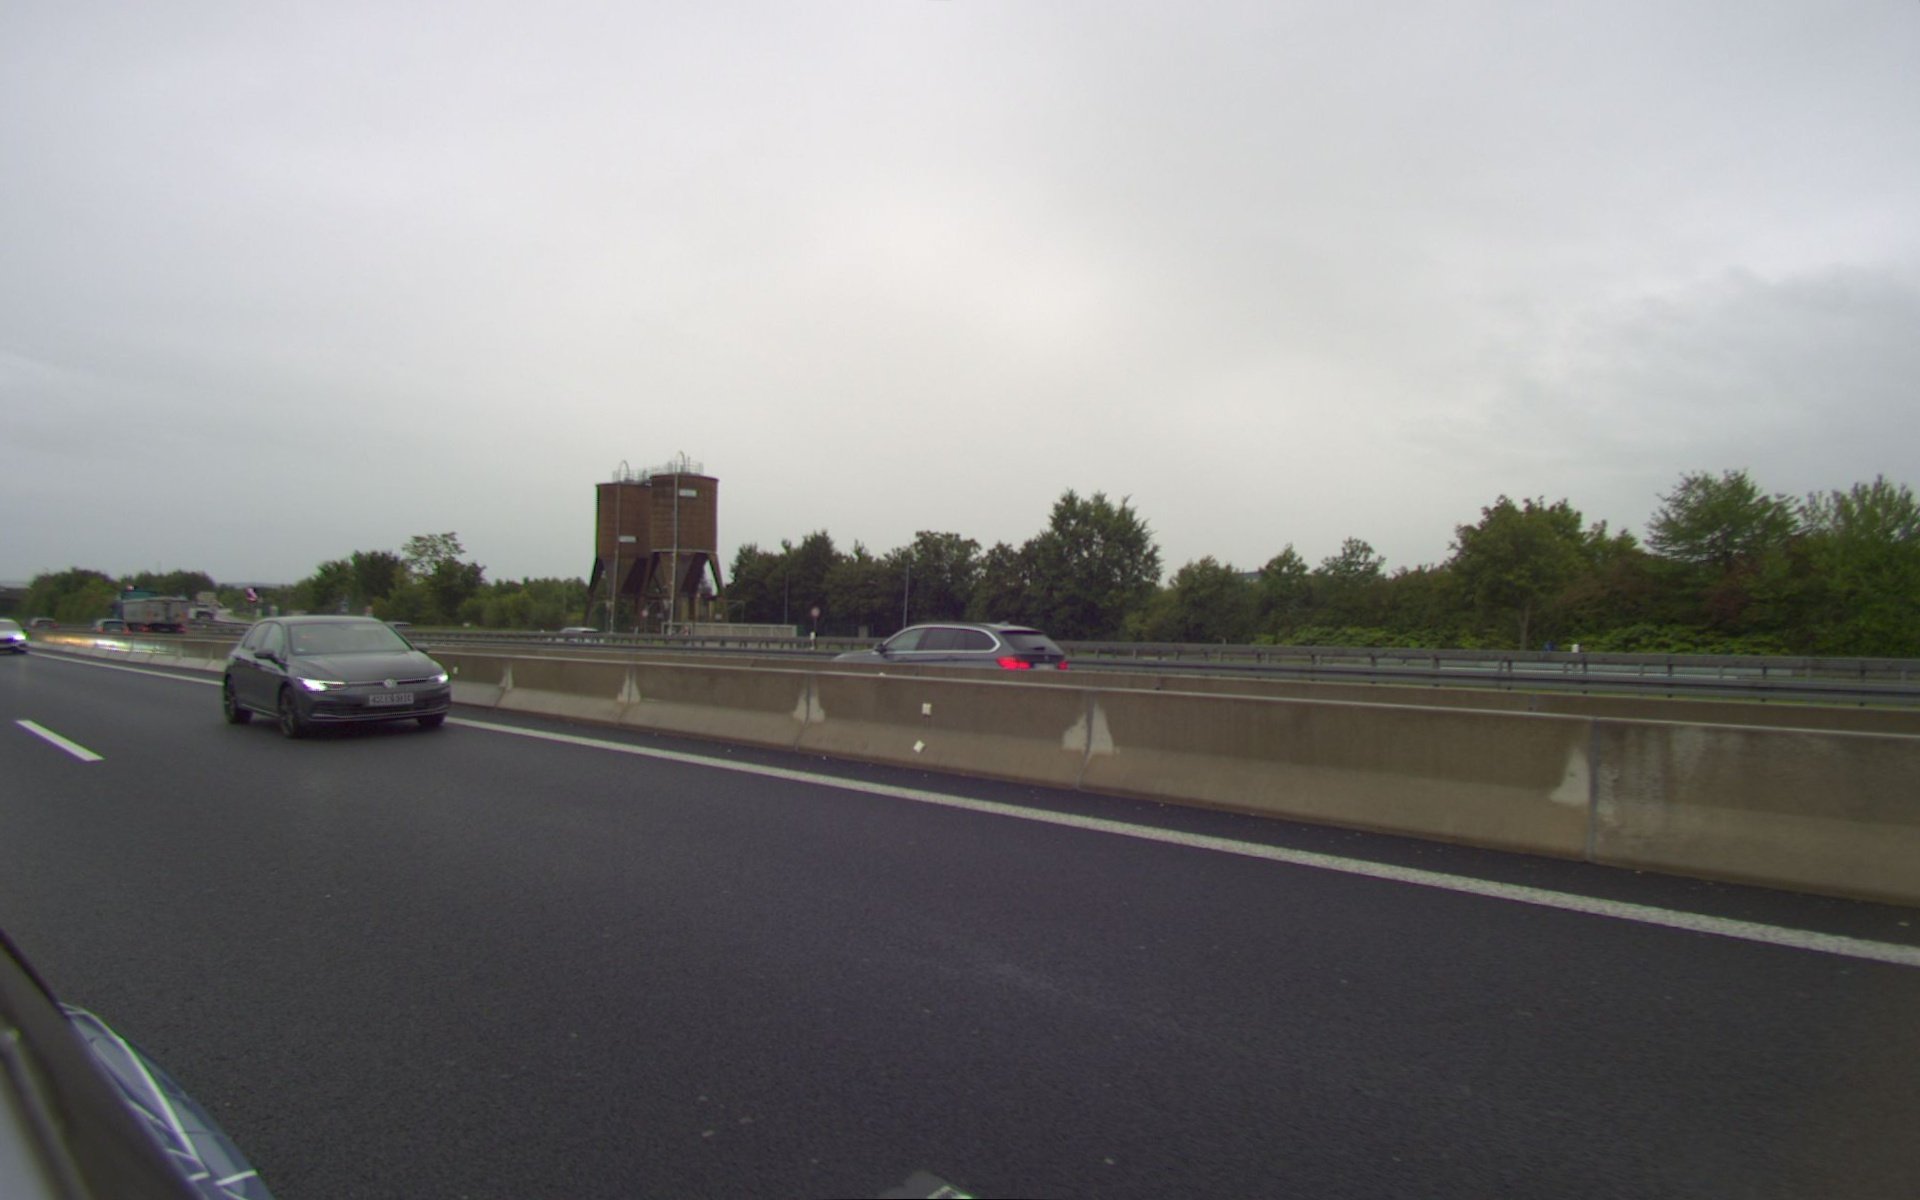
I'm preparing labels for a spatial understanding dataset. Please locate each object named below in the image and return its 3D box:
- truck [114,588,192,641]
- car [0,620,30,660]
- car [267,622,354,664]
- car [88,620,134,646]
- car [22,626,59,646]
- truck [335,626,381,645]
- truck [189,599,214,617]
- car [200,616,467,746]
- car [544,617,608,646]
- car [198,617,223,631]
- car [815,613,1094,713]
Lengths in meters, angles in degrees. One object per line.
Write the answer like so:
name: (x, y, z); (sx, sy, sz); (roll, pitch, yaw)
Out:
truck: (-61.792, 1.090, 77.342); (11.909, 3.738, 2.936); (-1, 0, 43)
car: (-40.247, 1.650, 42.053); (4.816, 1.603, 1.972); (-1, -1, 43)
car: (-24.971, 1.614, 38.865); (3.998, 1.519, 1.779); (-1, -2, 41)
car: (-54.795, 2.115, 65.309); (3.998, 1.608, 1.695); (-1, -1, 41)
car: (-80.039, 3.122, 88.104); (3.996, 1.644, 1.762); (-1, -2, 39)
truck: (-55.127, 3.206, 92.599); (5.401, 1.657, 1.974); (-1, 0, 40)
truck: (-138.820, 1.473, 185.158); (3.206, 3.241, 7.614); (0, -1, -41)
car: (-8.440, 0.954, 13.480); (4.365, 1.436, 1.811); (-1, -1, 41)
car: (-24.546, 2.023, 64.626); (4.503, 1.775, 1.972); (-1, -2, 42)
car: (-112.285, 3.630, 151.594); (3.994, 2.029, 1.975); (-1, 0, 38)
car: (-0.191, 0.947, 16.426); (4.442, 1.402, 1.837); (-1, -2, 41)
